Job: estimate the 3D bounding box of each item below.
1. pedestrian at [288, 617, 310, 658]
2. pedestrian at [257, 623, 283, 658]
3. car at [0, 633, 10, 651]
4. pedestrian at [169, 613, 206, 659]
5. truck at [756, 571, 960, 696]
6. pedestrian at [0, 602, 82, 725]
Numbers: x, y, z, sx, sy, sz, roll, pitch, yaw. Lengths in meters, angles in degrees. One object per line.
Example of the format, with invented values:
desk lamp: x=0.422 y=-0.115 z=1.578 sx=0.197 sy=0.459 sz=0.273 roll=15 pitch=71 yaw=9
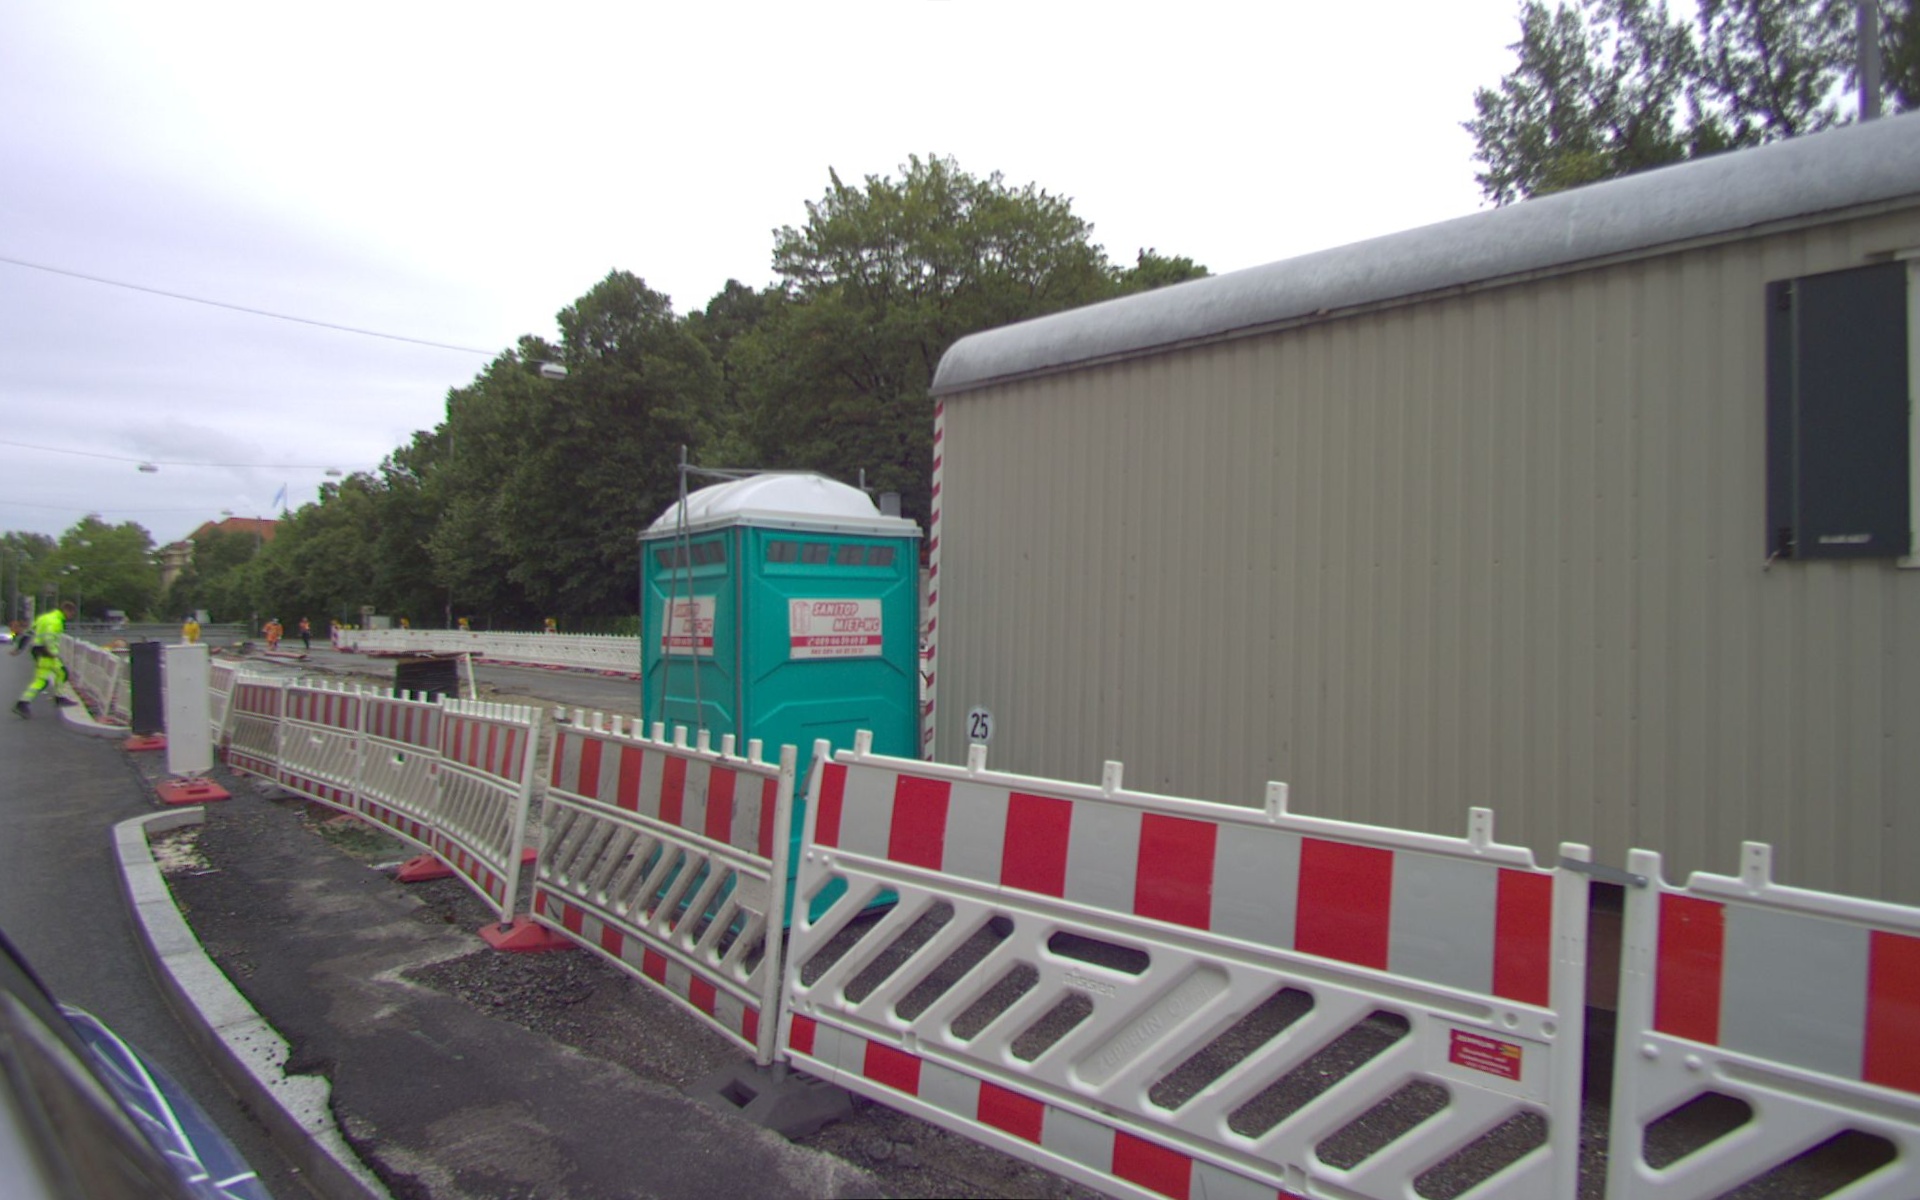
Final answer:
pedestrian: x=-32.371 y=1.814 z=49.595 sx=0.657 sy=1.985 sz=0.808 roll=1 pitch=-2 yaw=-18
pedestrian: x=-33.614 y=1.961 z=49.305 sx=0.886 sy=1.701 sz=0.912 roll=2 pitch=-3 yaw=-40
car: x=-86.421 y=3.764 z=90.560 sx=3.999 sy=1.481 sz=1.736 roll=-1 pitch=-1 yaw=42
pedestrian: x=-31.950 y=1.488 z=41.861 sx=0.847 sy=1.850 sz=0.876 roll=1 pitch=-2 yaw=-4
truck: x=-2.813 y=0.857 z=26.253 sx=2.096 sy=2.871 sz=6.221 roll=2 pitch=-3 yaw=-40
pedestrian: x=-14.148 y=0.961 z=15.448 sx=0.814 sy=1.817 sz=0.980 roll=-5 pitch=-4 yaw=38
